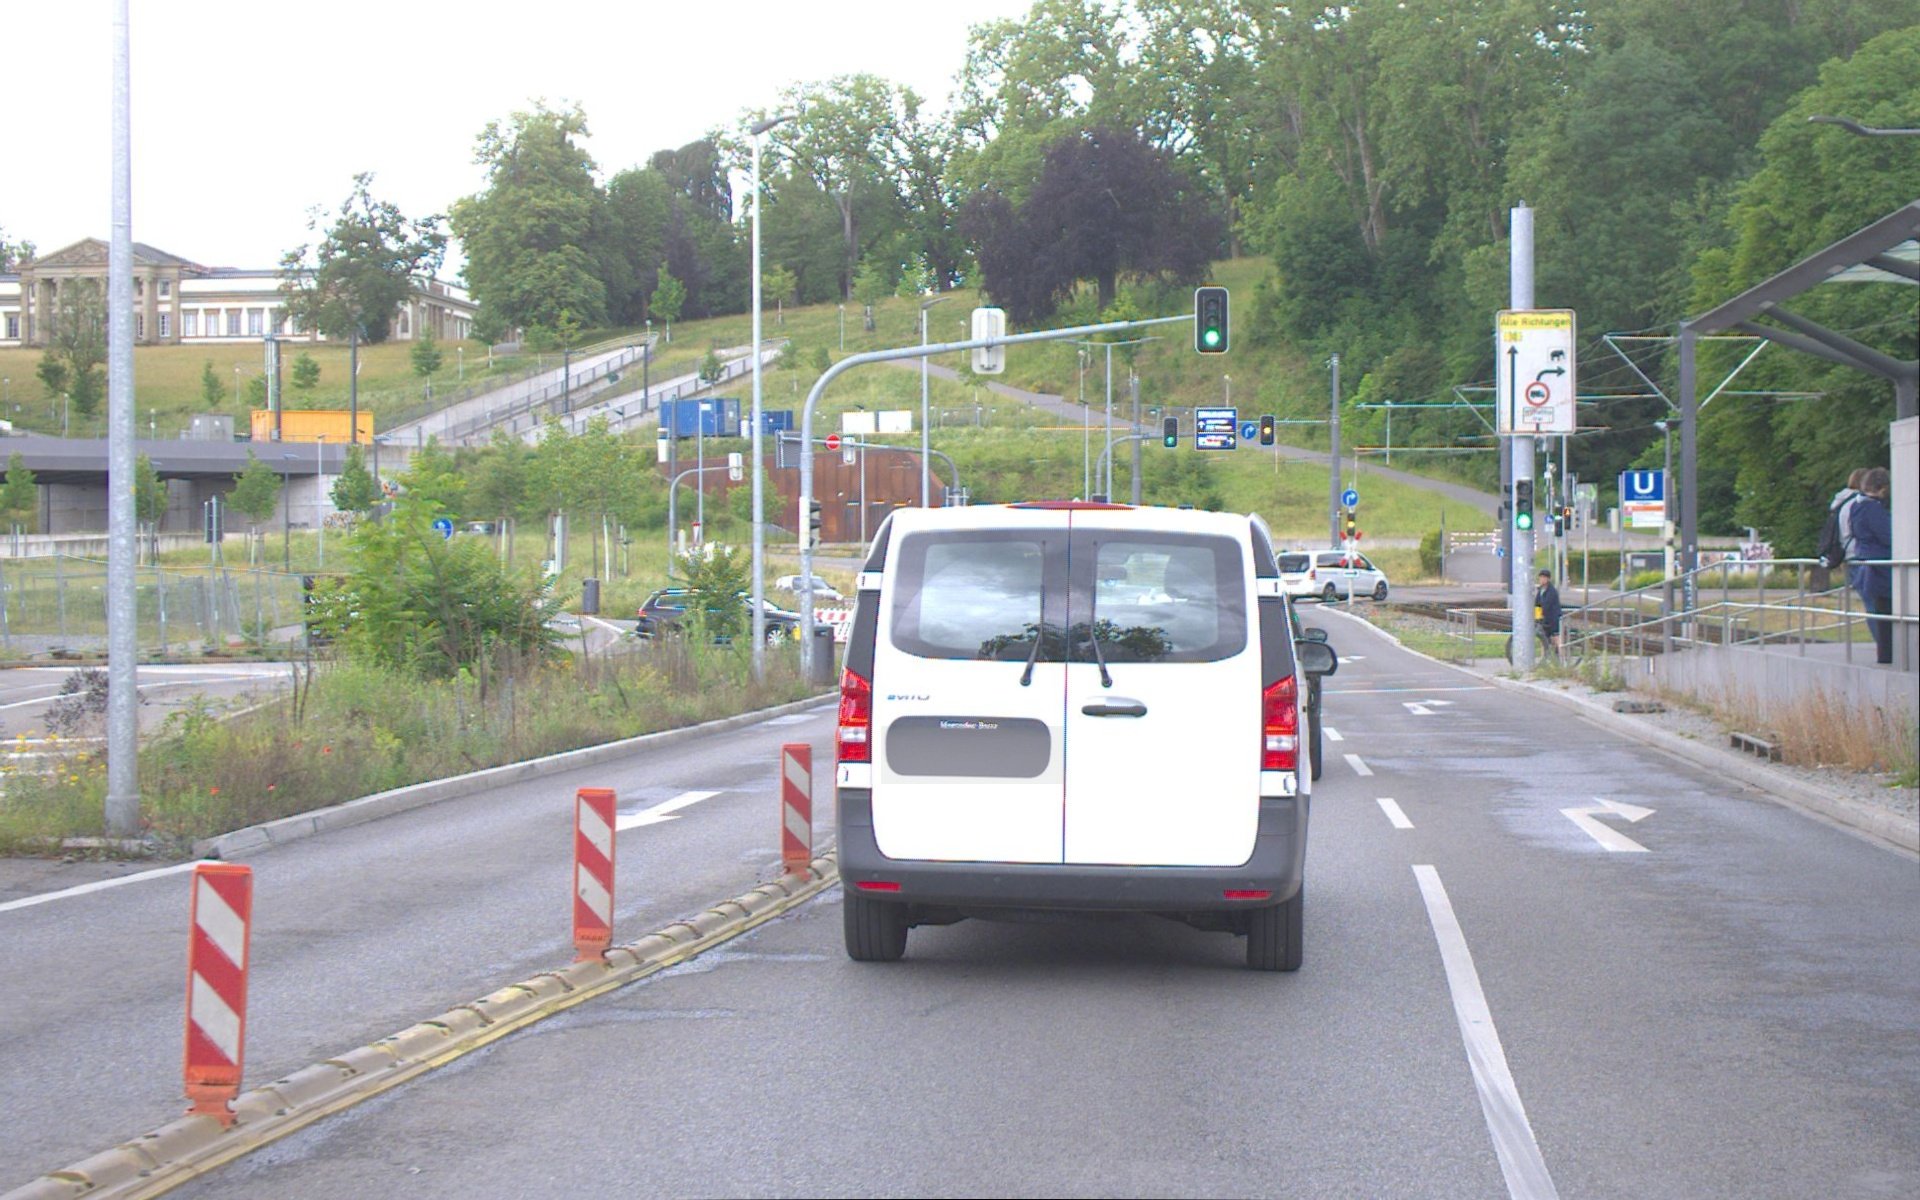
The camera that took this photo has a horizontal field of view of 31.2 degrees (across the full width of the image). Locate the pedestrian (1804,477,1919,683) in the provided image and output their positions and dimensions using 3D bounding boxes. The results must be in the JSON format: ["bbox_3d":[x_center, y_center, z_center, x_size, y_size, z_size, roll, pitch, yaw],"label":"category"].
[{"bbox_3d":[7.590,-0.179,28.969,0.770,1.693,0.731,2,2,6],"label":"pedestrian"}]

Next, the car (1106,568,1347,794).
[{"bbox_3d":[2.180,0.626,28.895,1.838,1.723,4.062,1,0,3],"label":"car"}]

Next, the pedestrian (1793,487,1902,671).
[{"bbox_3d":[7.668,-0.196,29.739,0.750,1.548,0.774,2,2,6],"label":"pedestrian"}]

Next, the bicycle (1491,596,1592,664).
[{"bbox_3d":[9.530,0.485,56.364,1.679,1.070,0.620,-1,2,-35],"label":"bicycle"}]

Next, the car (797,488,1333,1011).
[{"bbox_3d":[0.592,0.548,15.050,1.959,1.897,4.460,1,0,5],"label":"car"}]

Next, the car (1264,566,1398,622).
[{"bbox_3d":[13.548,-0.213,125.305,2.206,2.007,5.138,1,0,43],"label":"car"}]

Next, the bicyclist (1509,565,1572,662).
[{"bbox_3d":[9.513,0.214,56.338,0.803,1.567,0.618,-1,2,-35],"label":"bicyclist"}]

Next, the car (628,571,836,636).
[{"bbox_3d":[-5.625,0.089,84.888,4.712,1.472,1.999,-1,1,15],"label":"car"}]
